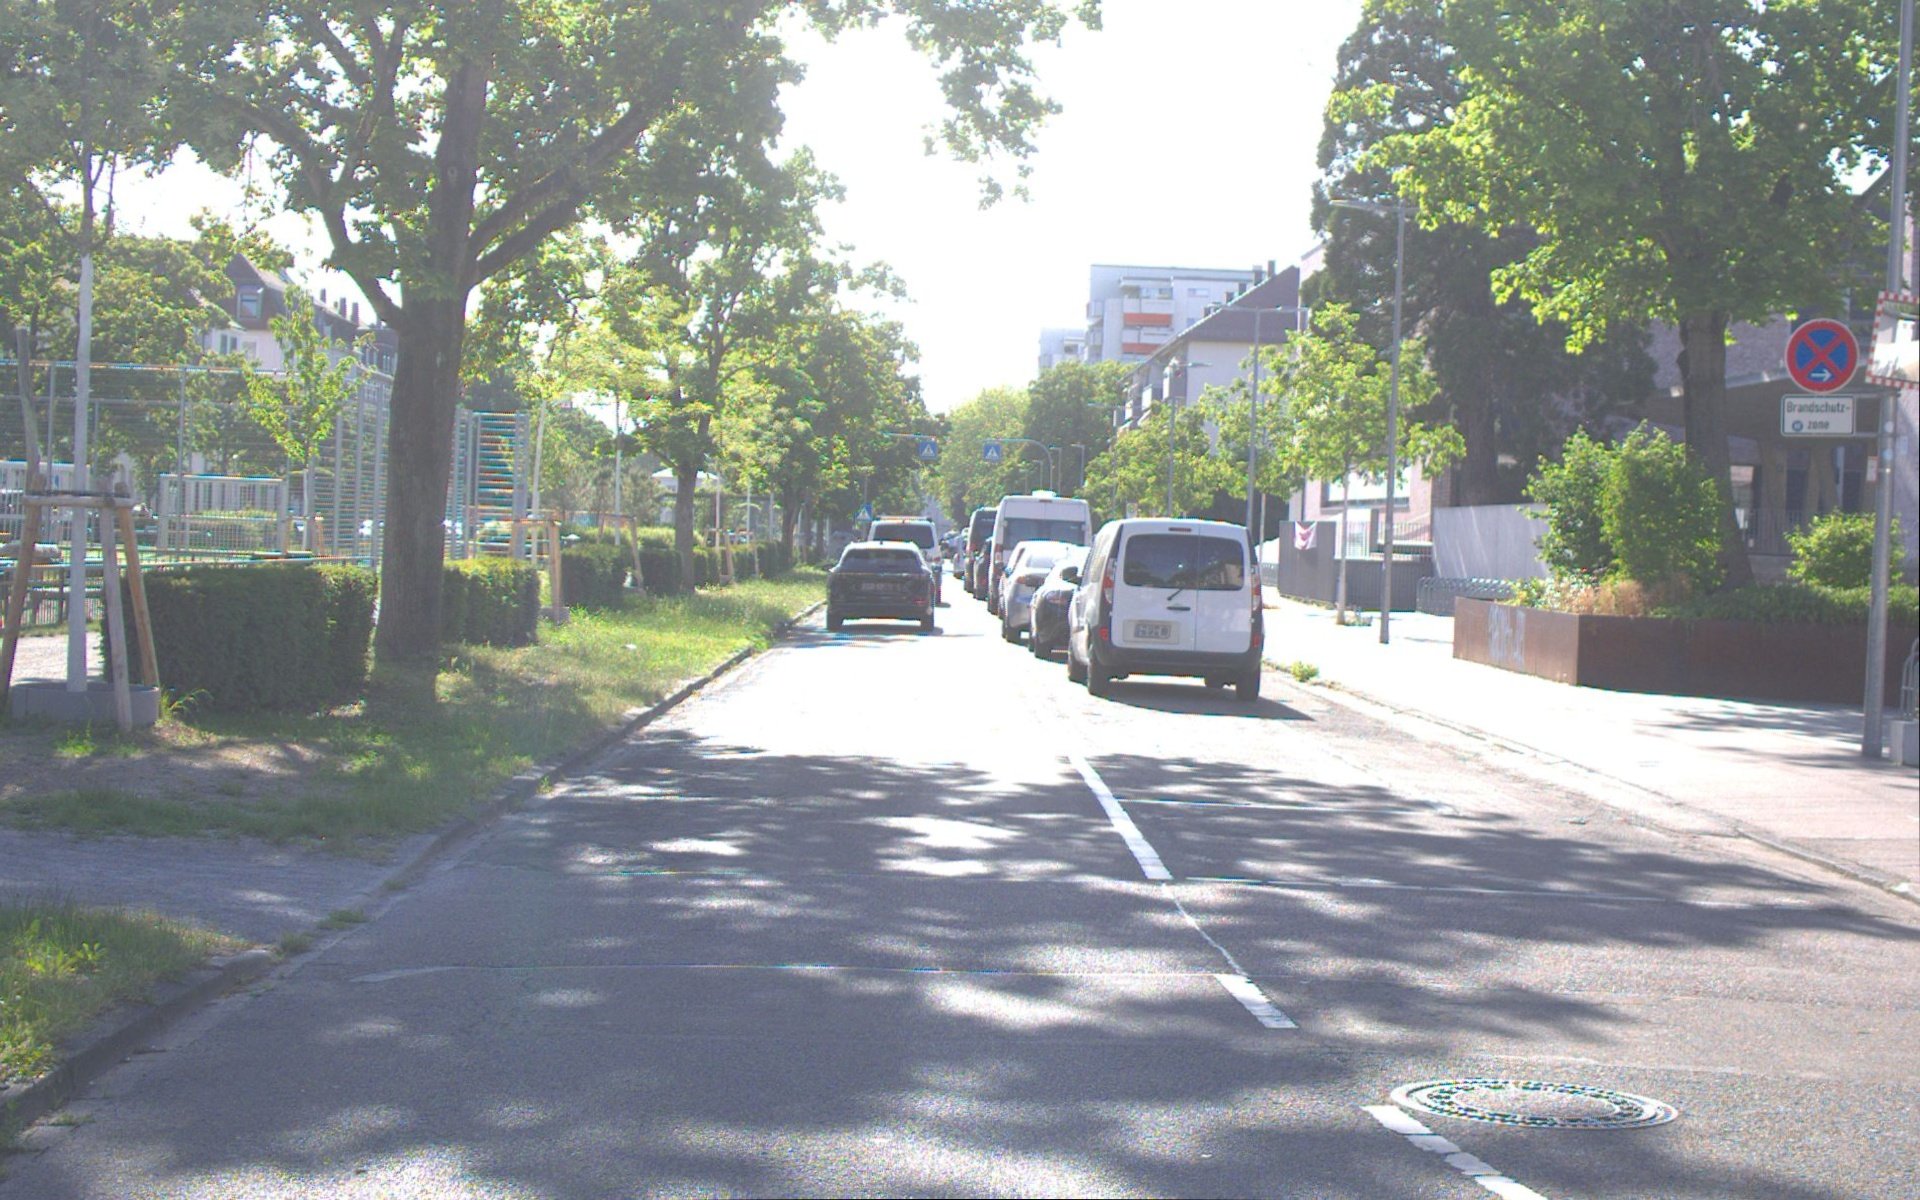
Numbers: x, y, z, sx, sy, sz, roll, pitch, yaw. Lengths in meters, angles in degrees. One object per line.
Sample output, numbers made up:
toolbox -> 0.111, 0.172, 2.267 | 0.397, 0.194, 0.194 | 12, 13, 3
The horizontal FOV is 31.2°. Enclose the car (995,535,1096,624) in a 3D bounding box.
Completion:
car -> 1.618, -0.411, 65.834 | 1.619, 1.583, 3.592 | 2, 1, -3

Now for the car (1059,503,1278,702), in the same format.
car -> 2.146, -0.025, 36.545 | 1.808, 1.902, 4.462 | 3, 1, -2

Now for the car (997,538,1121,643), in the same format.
car -> 1.488, -0.175, 53.013 | 1.701, 1.473, 4.174 | 3, 1, 0

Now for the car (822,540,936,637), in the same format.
car -> -1.339, -0.223, 58.146 | 1.794, 1.505, 4.000 | 2, 1, 0

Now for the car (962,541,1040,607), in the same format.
car -> 1.044, -0.696, 90.627 | 1.846, 1.634, 4.504 | 2, 1, -1

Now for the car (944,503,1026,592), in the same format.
car -> 0.703, -1.577, 103.076 | 2.115, 2.507, 6.533 | 2, 1, -2

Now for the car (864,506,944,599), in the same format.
car -> -1.323, -1.142, 82.601 | 1.794, 2.115, 4.000 | 2, 1, 0

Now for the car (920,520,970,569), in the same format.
car -> -0.583, -2.231, 136.701 | 1.794, 1.848, 4.413 | 2, 1, 2

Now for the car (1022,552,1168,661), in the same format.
car -> 1.793, 0.057, 46.720 | 1.701, 1.321, 4.130 | 3, 1, -1

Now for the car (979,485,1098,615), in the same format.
car -> 1.623, -1.062, 73.125 | 2.241, 2.565, 5.433 | 3, 1, 0
